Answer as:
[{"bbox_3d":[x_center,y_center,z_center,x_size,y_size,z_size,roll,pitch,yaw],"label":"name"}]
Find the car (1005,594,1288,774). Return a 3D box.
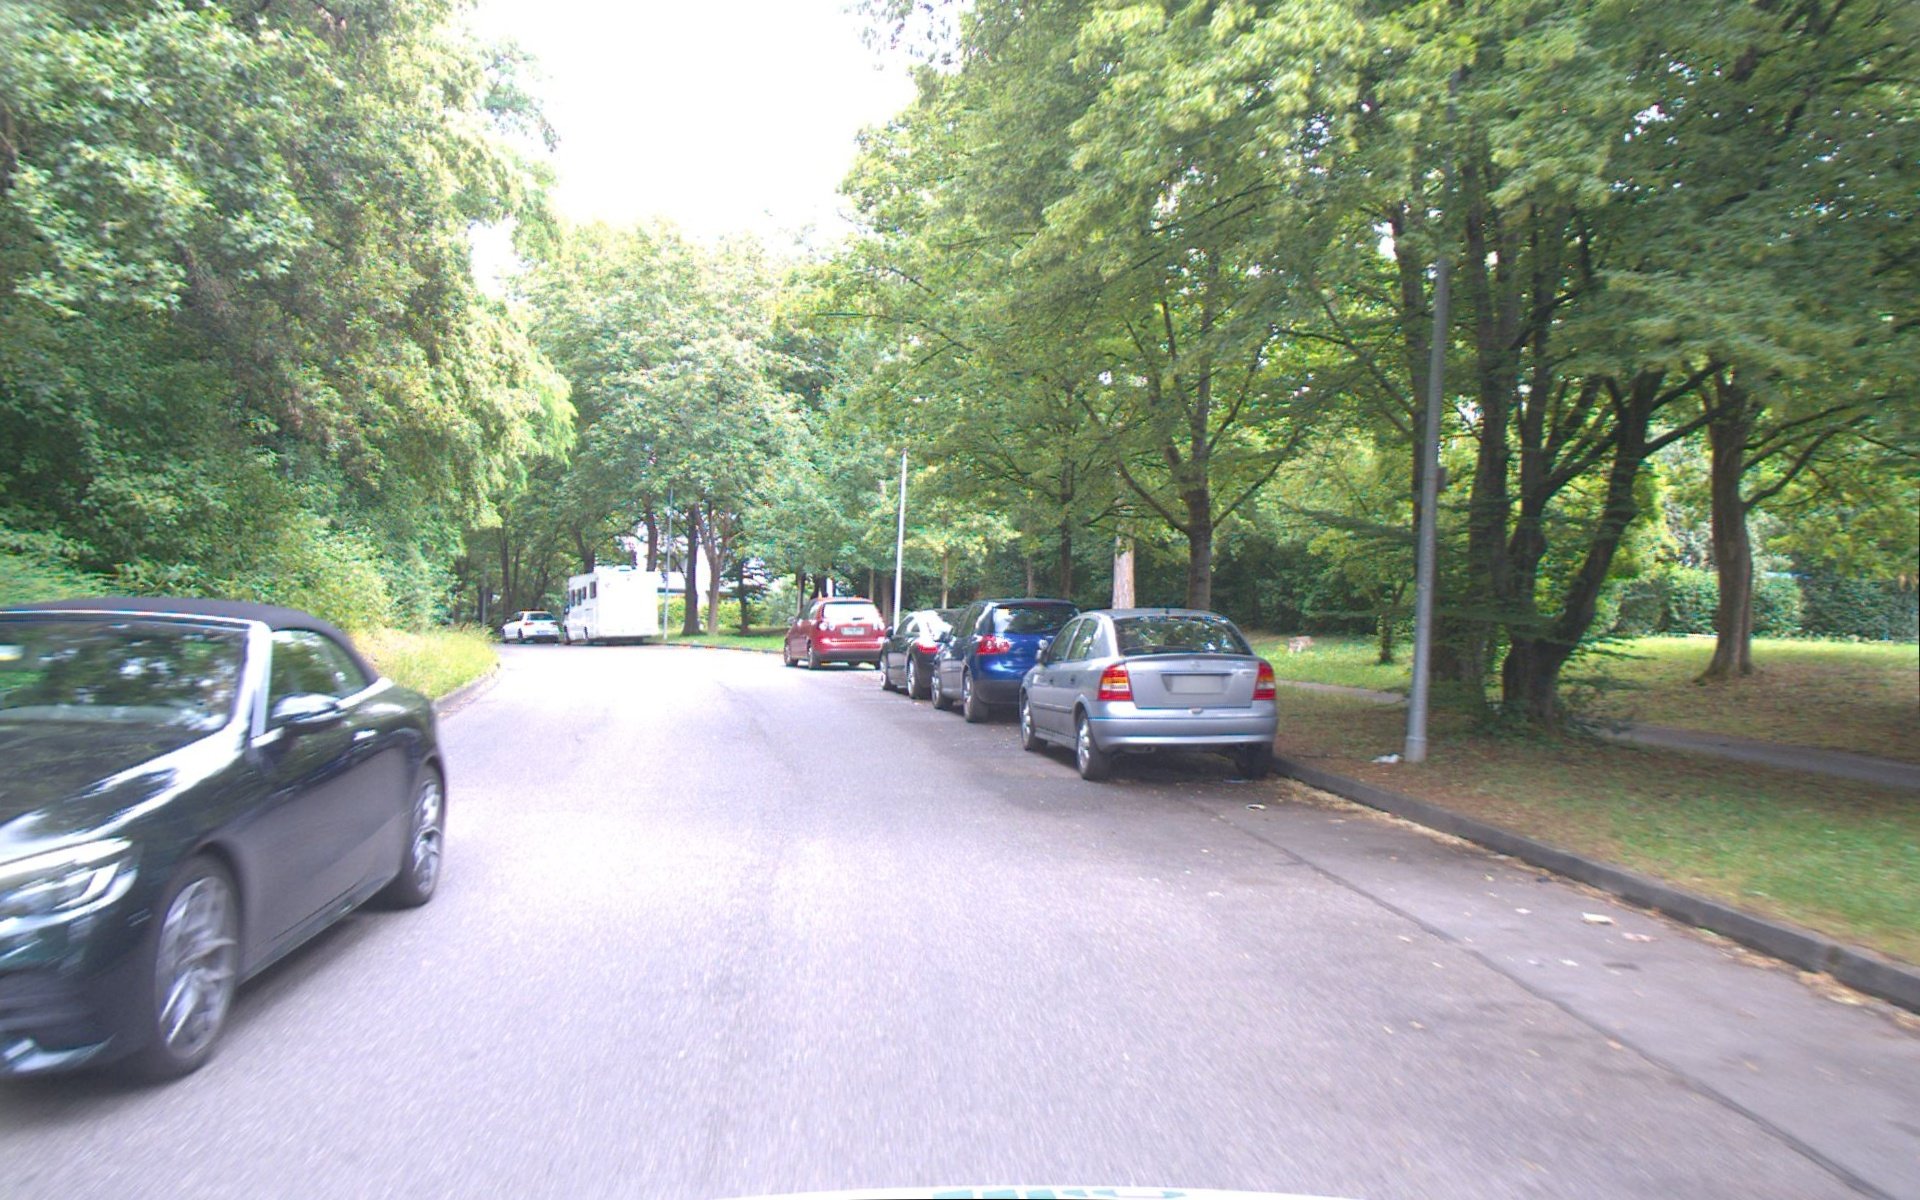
[{"bbox_3d":[1.592,0.707,15.517,1.685,1.456,3.940,0,-1,-9],"label":"car"}]

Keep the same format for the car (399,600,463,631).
[{"bbox_3d":[-28.937,0.830,90.434,1.981,1.527,3.943,3,-1,-40],"label":"car"}]

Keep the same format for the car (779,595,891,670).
[{"bbox_3d":[-2.870,0.720,37.329,1.711,1.590,3.981,0,-1,-17],"label":"car"}]

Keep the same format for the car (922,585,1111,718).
[{"bbox_3d":[0.646,0.654,22.069,1.683,1.536,4.171,3,-1,-9],"label":"car"}]

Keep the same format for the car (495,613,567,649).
[{"bbox_3d":[-19.944,1.435,76.798,1.976,1.499,3.952,3,-1,-34],"label":"car"}]

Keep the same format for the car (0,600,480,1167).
[{"bbox_3d":[-3.271,0.731,6.386,1.756,1.413,4.487,2,-1,-4],"label":"car"}]

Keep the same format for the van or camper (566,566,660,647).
[{"bbox_3d":[-13.746,0.224,65.225,2.400,3.060,5.163,0,0,-27],"label":"van or camper"}]

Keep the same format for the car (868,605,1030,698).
[{"bbox_3d":[-0.272,0.781,26.738,1.720,1.360,4.401,1,-1,-13],"label":"car"}]
